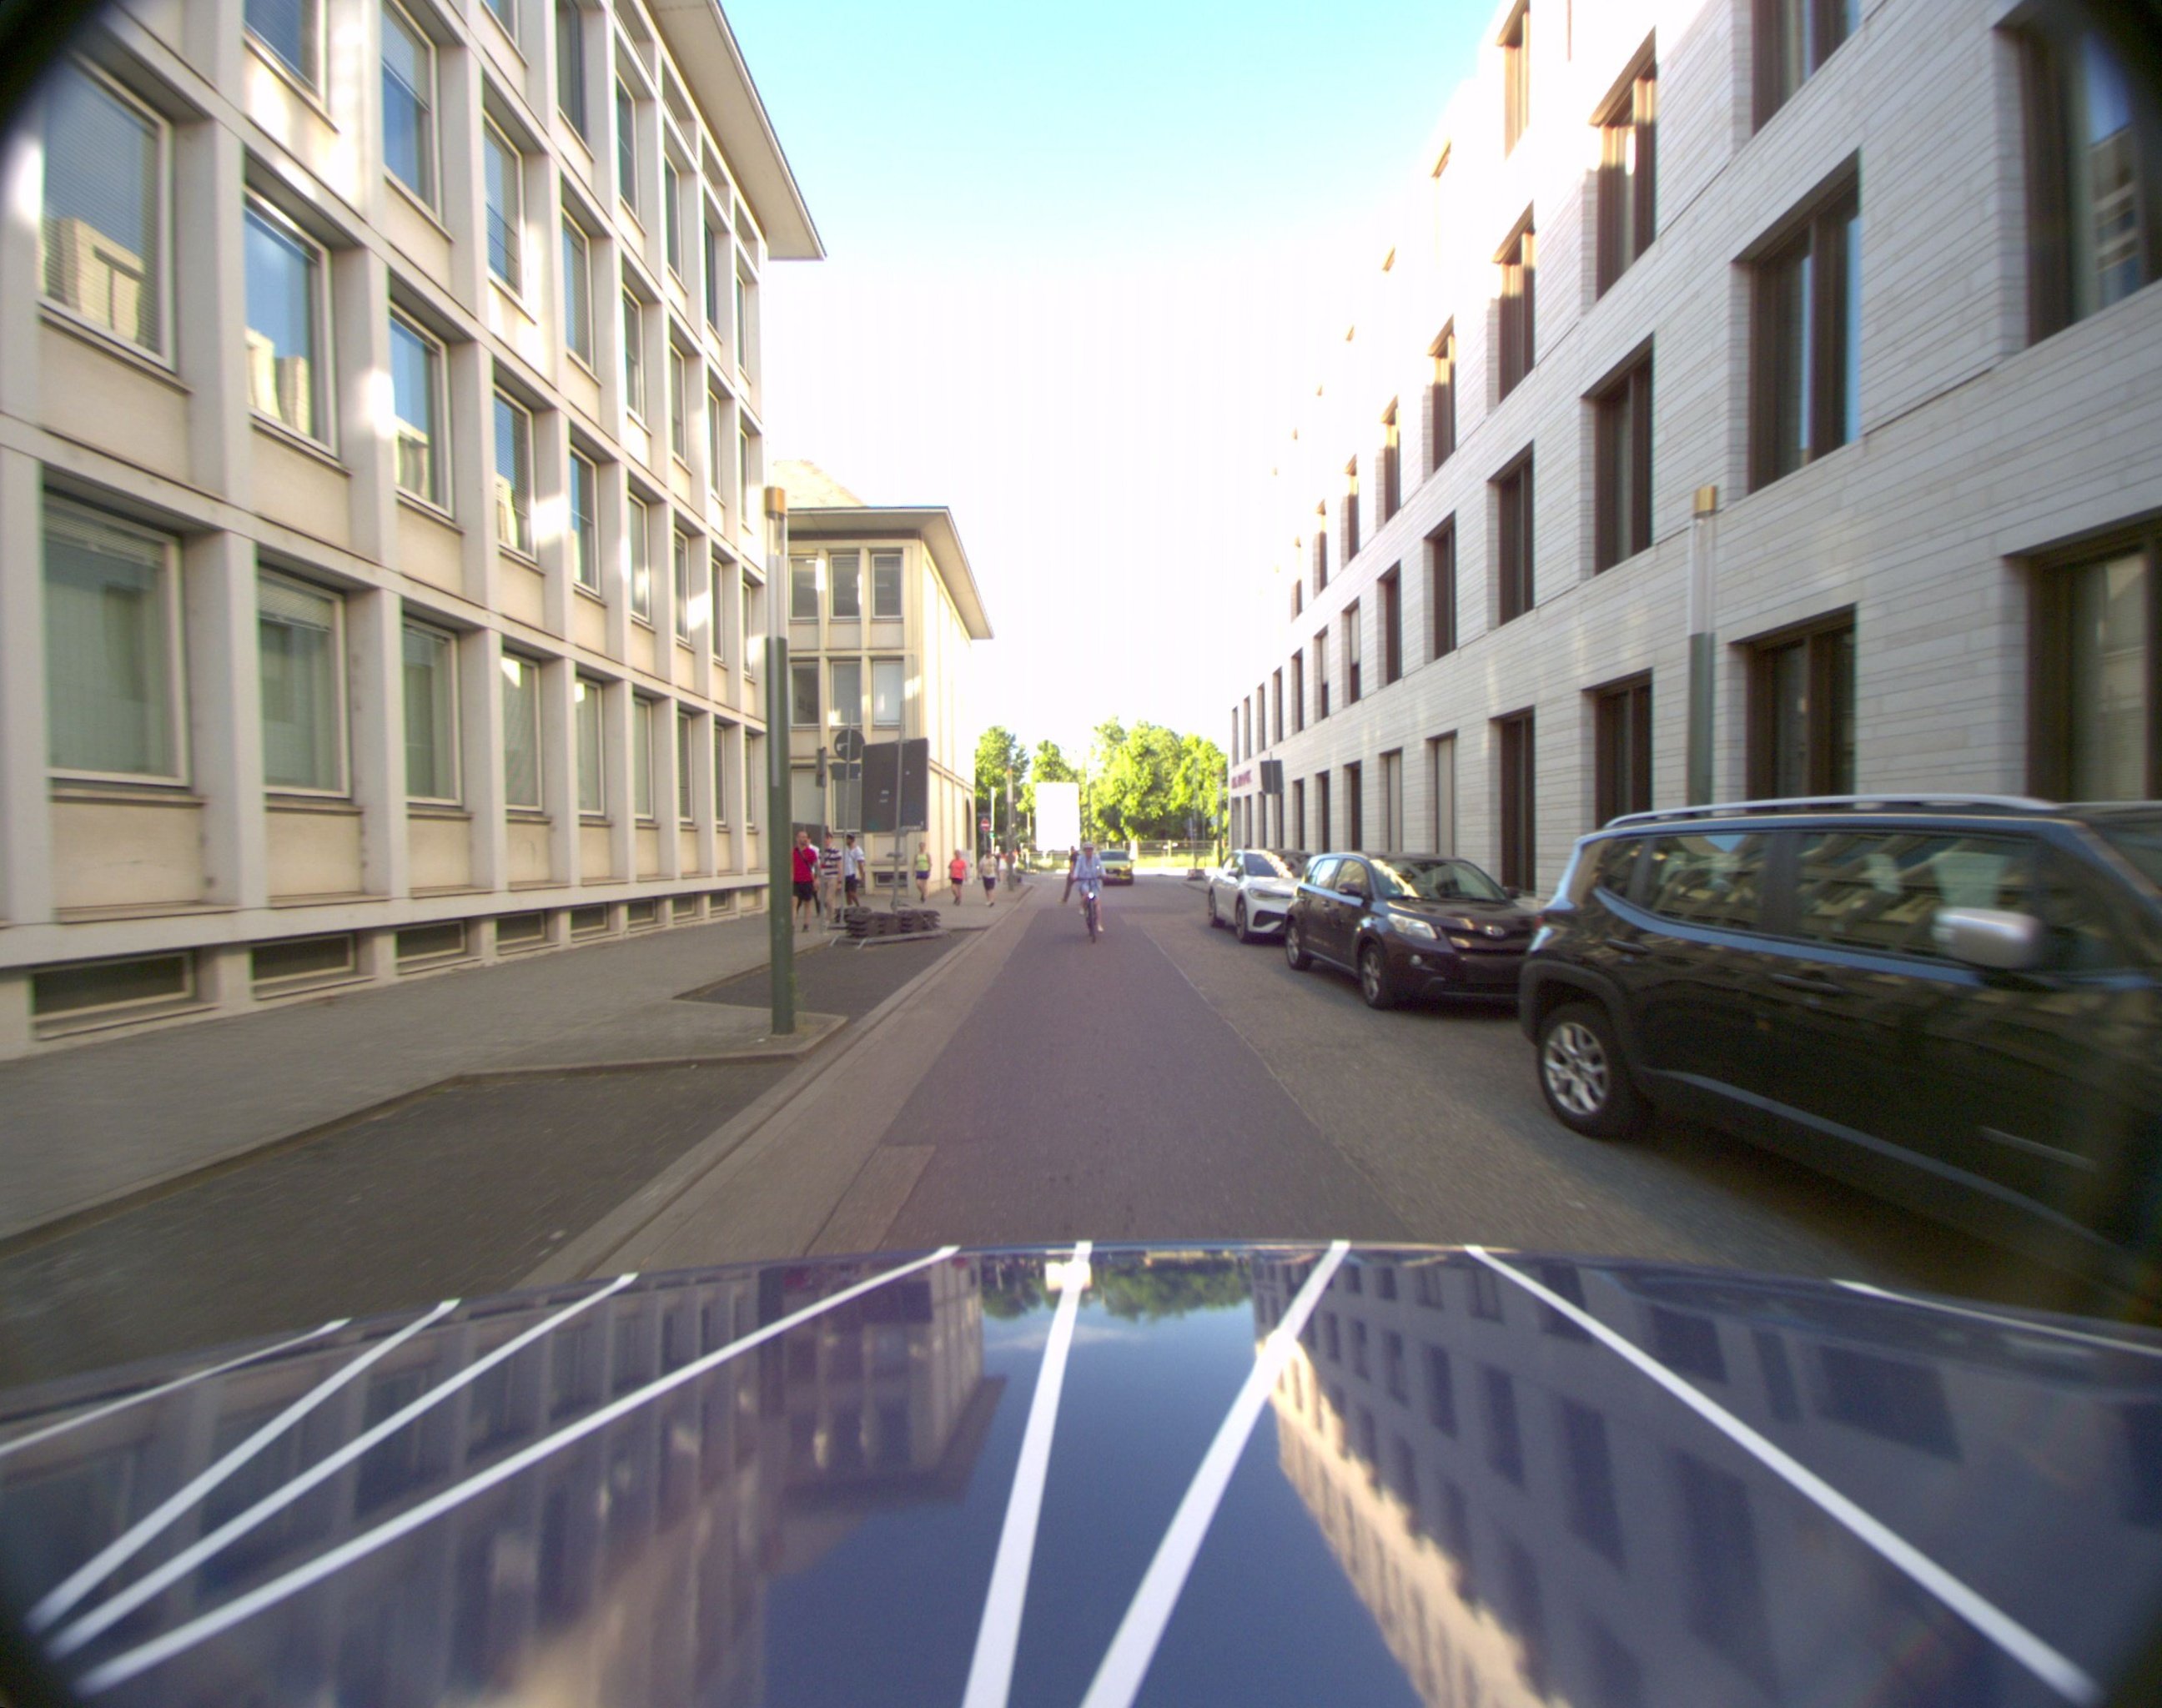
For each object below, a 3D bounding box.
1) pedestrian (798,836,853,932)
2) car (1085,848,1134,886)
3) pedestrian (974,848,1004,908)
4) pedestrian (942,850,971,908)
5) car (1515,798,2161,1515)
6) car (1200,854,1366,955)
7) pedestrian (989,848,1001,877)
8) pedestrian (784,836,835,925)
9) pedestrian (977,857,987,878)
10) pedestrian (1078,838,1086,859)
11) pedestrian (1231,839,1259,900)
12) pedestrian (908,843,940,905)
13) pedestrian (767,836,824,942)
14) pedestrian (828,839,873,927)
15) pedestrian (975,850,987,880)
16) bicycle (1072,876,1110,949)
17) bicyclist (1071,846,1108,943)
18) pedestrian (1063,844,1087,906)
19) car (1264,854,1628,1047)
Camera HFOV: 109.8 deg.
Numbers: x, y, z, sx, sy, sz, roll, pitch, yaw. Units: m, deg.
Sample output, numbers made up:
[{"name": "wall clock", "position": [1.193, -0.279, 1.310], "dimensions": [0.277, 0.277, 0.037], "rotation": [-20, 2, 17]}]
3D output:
[{"name": "pedestrian", "position": [-4.905, 0.563, 14.647], "dimensions": [0.685, 1.768, 0.693], "rotation": [5, 1, 1]}, {"name": "car", "position": [1.339, 0.539, 34.024], "dimensions": [1.998, 1.451, 4.436], "rotation": [-1, 2, 5]}, {"name": "pedestrian", "position": [-2.682, 0.693, 22.202], "dimensions": [0.685, 1.706, 0.693], "rotation": [3, 1, 2]}, {"name": "pedestrian", "position": [-3.556, 0.697, 21.805], "dimensions": [0.685, 1.627, 0.693], "rotation": [1, 1, 2]}, {"name": "car", "position": [3.486, 0.734, 2.418], "dimensions": [1.827, 1.704, 4.017], "rotation": [1, 0, -1]}, {"name": "car", "position": [3.471, 0.776, 13.943], "dimensions": [1.827, 1.532, 4.446], "rotation": [0, 0, 0]}, {"name": "pedestrian", "position": [-4.936, 0.484, 43.532], "dimensions": [0.626, 1.605, 0.623], "rotation": [-2, 2, -6]}, {"name": "pedestrian", "position": [-5.678, 0.541, 15.913], "dimensions": [0.685, 1.768, 0.693], "rotation": [5, 1, 1]}, {"name": "pedestrian", "position": [-5.686, 0.756, 43.683], "dimensions": [0.535, 1.170, 0.623], "rotation": [-2, 2, -6]}, {"name": "pedestrian", "position": [0.094, -0.506, 66.462], "dimensions": [0.623, 1.773, 0.626], "rotation": [-2, 2, -6]}, {"name": "pedestrian", "position": [4.914, 0.450, 22.767], "dimensions": [0.645, 1.780, 0.816], "rotation": [-2, 2, 0]}, {"name": "pedestrian", "position": [-4.522, 0.563, 21.892], "dimensions": [0.685, 1.706, 0.693], "rotation": [3, 1, 2]}, {"name": "pedestrian", "position": [-4.961, 0.594, 13.238], "dimensions": [0.685, 1.768, 0.593], "rotation": [3, 1, 1]}, {"name": "pedestrian", "position": [-4.795, 0.589, 15.854], "dimensions": [0.685, 1.768, 0.693], "rotation": [1, 1, 2]}, {"name": "pedestrian", "position": [-5.643, 0.607, 43.005], "dimensions": [0.626, 1.633, 0.623], "rotation": [-2, 2, -6]}, {"name": "bicycle", "position": [0.160, 1.000, 13.787], "dimensions": [0.595, 1.077, 2.310], "rotation": [-2, 2, 0]}, {"name": "bicyclist", "position": [0.147, 0.716, 13.593], "dimensions": [0.586, 1.679, 0.538], "rotation": [-2, 2, -1]}, {"name": "pedestrian", "position": [-0.175, 0.606, 22.523], "dimensions": [0.643, 1.780, 0.575], "rotation": [2, 2, 0]}, {"name": "car", "position": [3.522, 0.790, 8.376], "dimensions": [1.827, 1.532, 4.262], "rotation": [-1, 0, -2]}]
